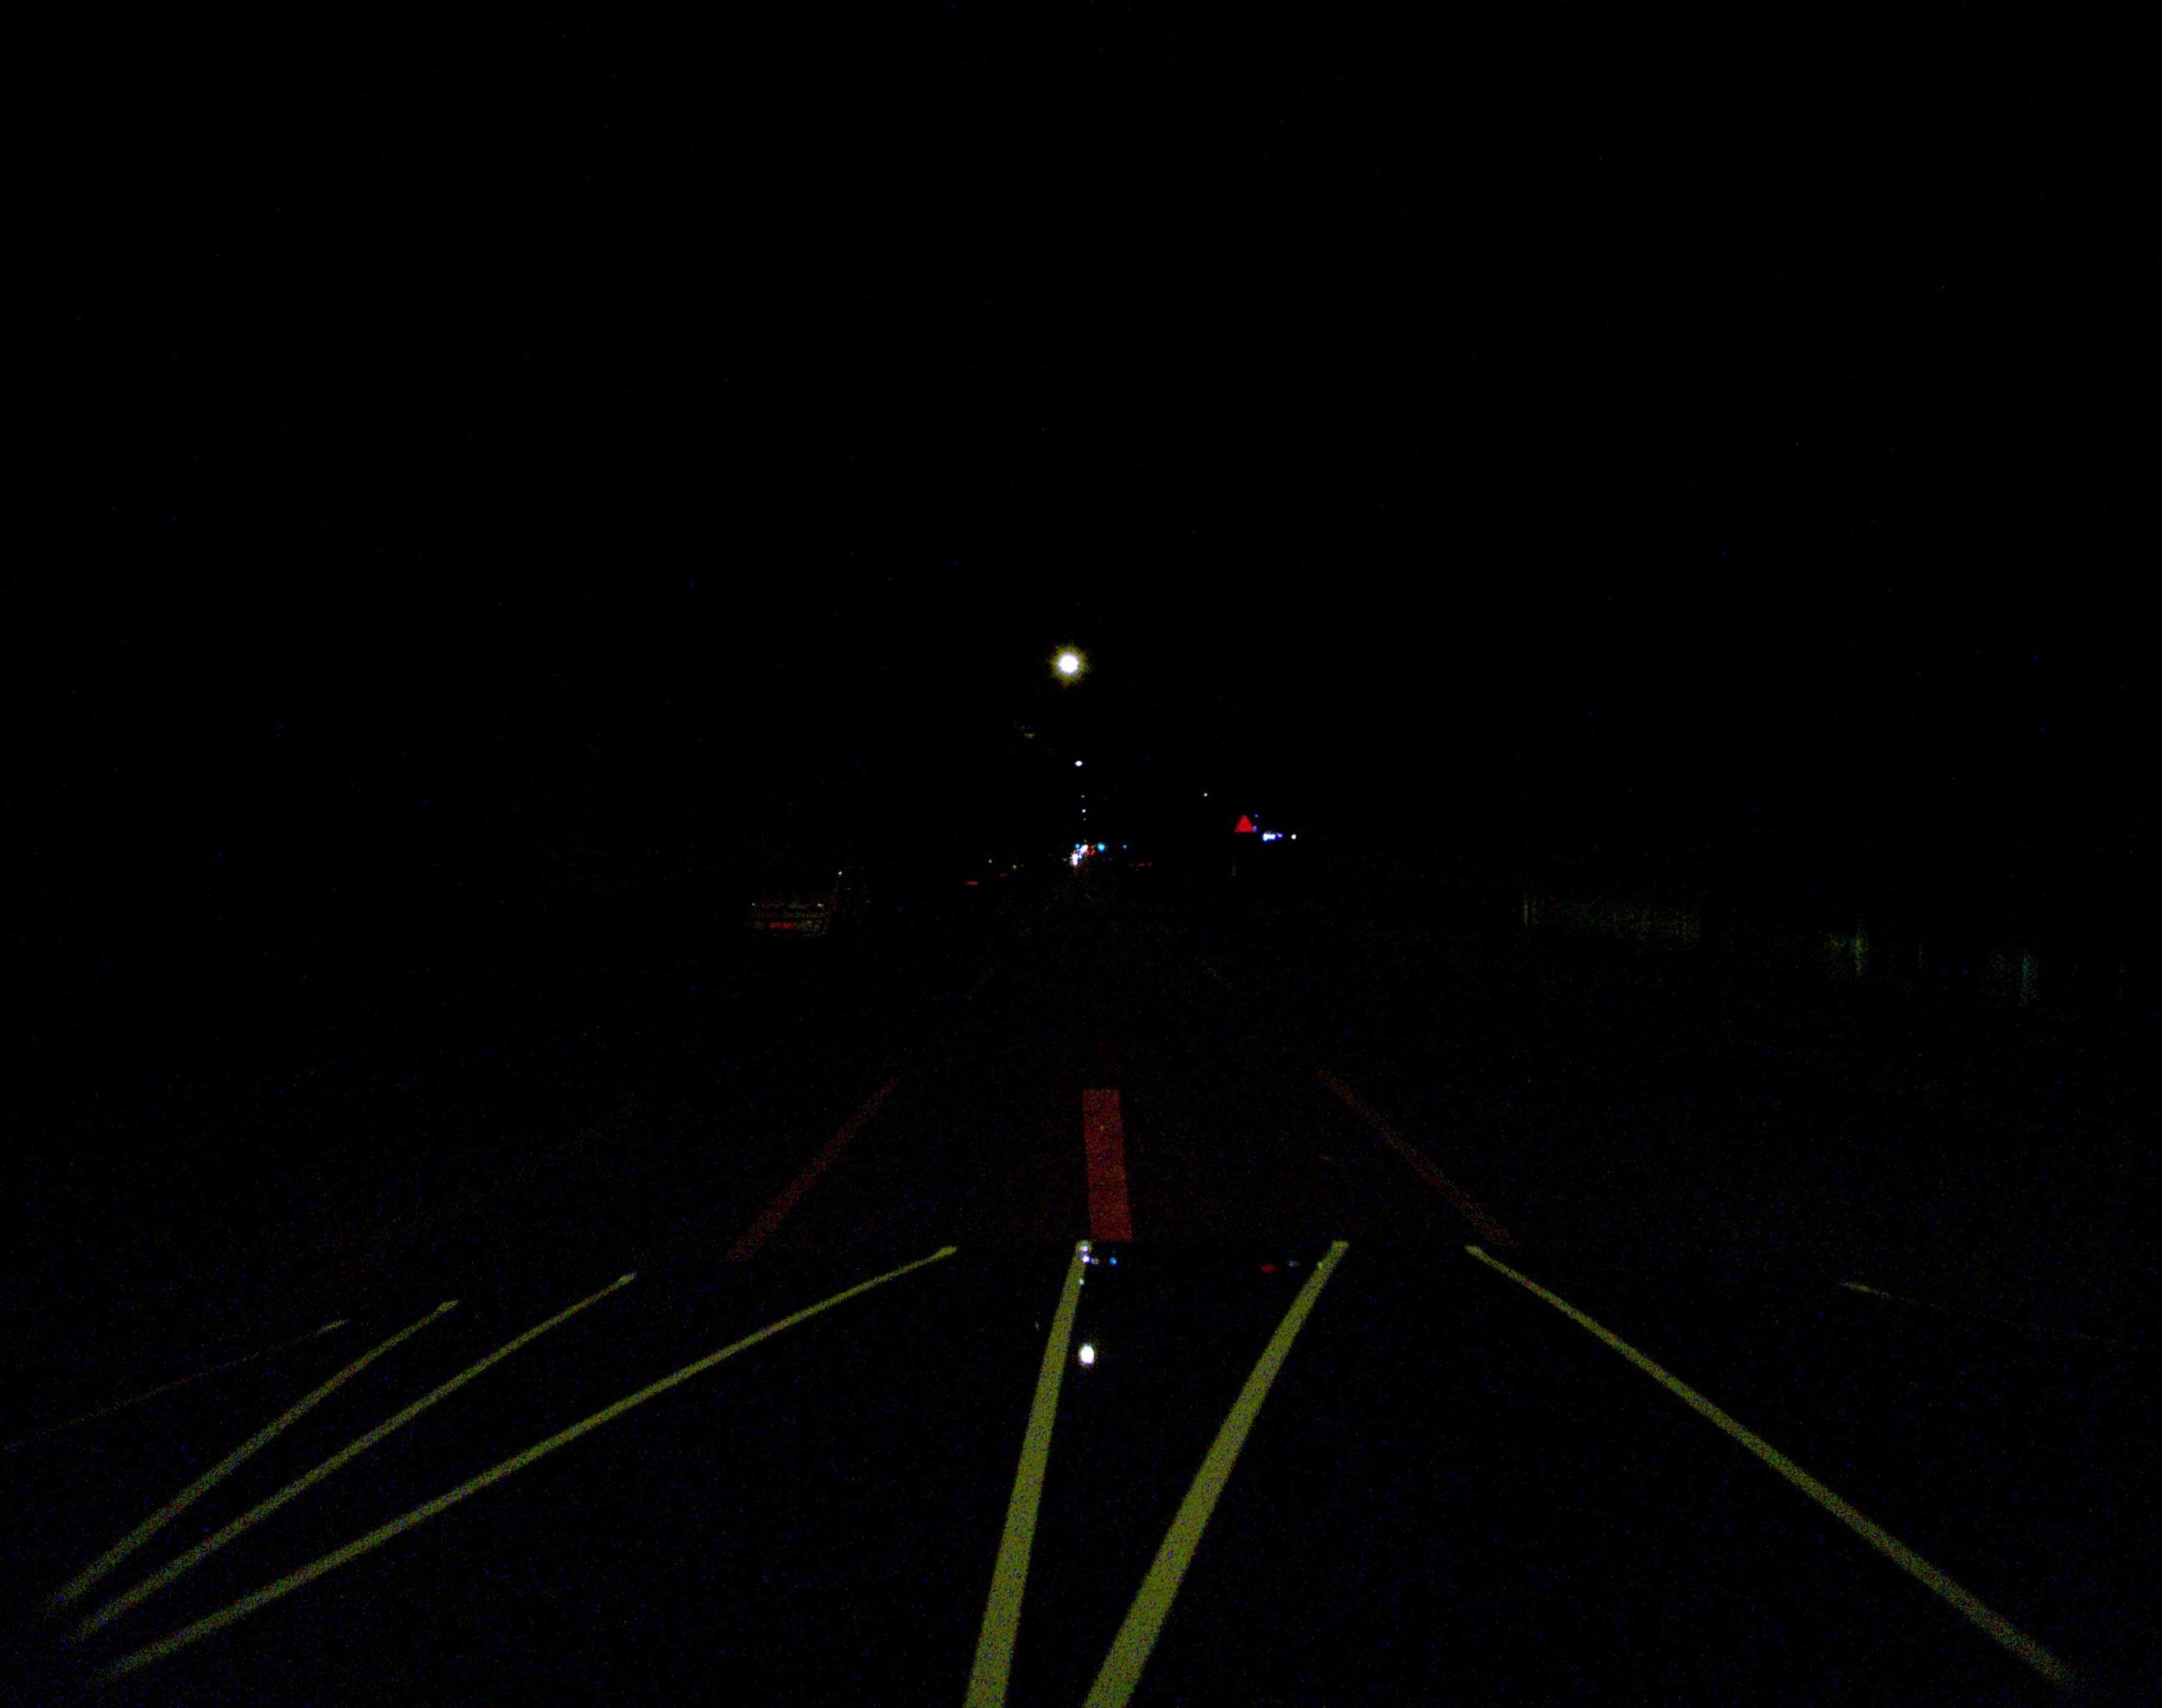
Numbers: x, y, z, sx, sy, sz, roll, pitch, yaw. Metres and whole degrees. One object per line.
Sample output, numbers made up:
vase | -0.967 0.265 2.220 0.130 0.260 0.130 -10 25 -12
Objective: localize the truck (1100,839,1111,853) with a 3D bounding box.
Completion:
truck | 4.971 -1.618 155.506 2.084 2.562 6.873 -2 0 1

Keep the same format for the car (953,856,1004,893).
car | -4.566 0.873 34.286 1.865 1.544 4.044 0 0 -1

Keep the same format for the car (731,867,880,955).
car | -5.333 1.032 15.200 1.672 1.476 3.603 0 0 0

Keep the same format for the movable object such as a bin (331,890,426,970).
movable object such as a bin | -10.035 1.075 10.882 0.609 1.042 0.755 -2 1 1

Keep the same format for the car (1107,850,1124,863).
car | 4.727 0.361 105.123 1.874 1.635 3.999 -2 0 -3

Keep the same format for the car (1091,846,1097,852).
car | 4.458 -1.688 254.761 1.873 1.635 4.000 -2 0 1

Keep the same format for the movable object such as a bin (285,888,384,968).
movable object such as a bin | -10.669 1.040 10.884 0.609 1.042 0.755 -2 1 1

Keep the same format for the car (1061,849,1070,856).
car | -3.314 -0.424 163.121 1.874 1.407 3.999 -2 0 0

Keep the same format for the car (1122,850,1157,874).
car | 3.972 0.520 52.328 1.864 1.524 4.587 -4 0 -1

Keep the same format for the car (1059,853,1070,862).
car | -2.979 0.573 134.798 1.874 1.407 3.999 -2 0 0

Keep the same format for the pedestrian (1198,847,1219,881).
pedestrian | 6.390 0.484 38.075 0.743 1.662 1.105 -1 1 22

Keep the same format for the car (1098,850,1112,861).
car | 3.732 0.212 119.493 1.874 1.635 3.999 -2 0 -3

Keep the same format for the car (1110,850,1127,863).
car | 4.969 0.333 100.867 1.874 1.635 3.999 -2 0 -3

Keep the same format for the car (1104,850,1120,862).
car | 4.445 0.302 110.061 1.874 1.635 3.999 -2 0 -3

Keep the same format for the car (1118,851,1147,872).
car | 3.895 0.564 57.842 1.864 1.458 3.896 -4 0 -1

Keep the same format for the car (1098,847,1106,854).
car | 5.004 -0.753 180.311 1.873 1.551 4.353 -2 0 1

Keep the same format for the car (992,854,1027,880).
car | -4.450 0.774 47.807 1.742 1.588 4.359 0 0 1

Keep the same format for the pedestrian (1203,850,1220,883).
pedestrian | 6.823 0.638 39.665 0.670 1.716 0.866 -2 1 -2

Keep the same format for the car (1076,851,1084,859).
car | -0.271 0.237 175.665 1.874 1.635 3.999 -2 0 0

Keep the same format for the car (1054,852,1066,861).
car | -3.575 0.399 128.771 1.874 1.407 3.999 -2 0 0
